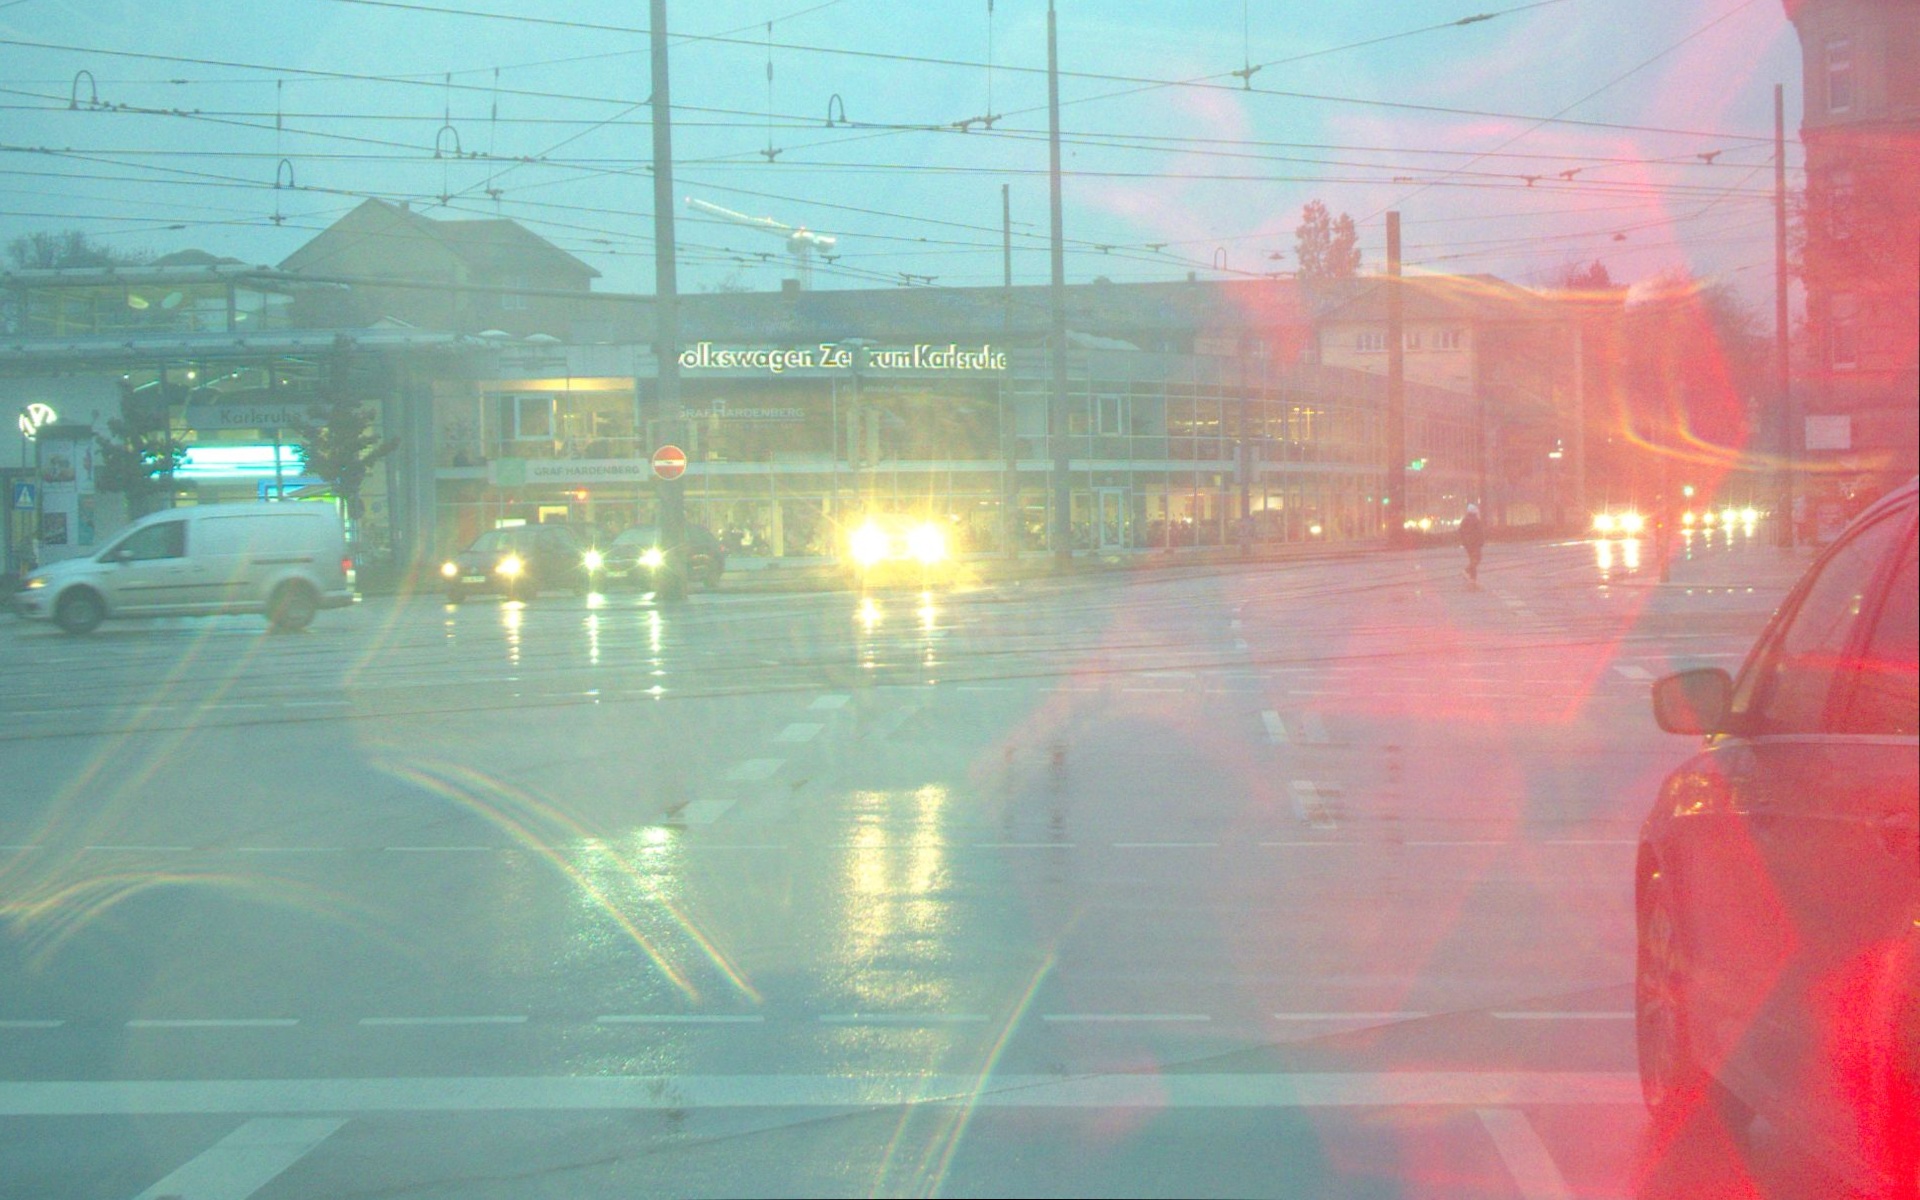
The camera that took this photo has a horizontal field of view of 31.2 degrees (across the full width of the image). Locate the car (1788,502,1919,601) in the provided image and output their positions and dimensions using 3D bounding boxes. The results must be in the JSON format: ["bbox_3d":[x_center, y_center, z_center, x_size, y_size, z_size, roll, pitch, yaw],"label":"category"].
[{"bbox_3d":[16.968,-0.870,59.610,4.798,1.651,1.740,-1,1,2],"label":"car"}]

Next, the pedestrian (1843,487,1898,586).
[{"bbox_3d":[18.722,-1.308,70.704,0.728,2.007,0.789,-1,1,-29],"label":"pedestrian"}]

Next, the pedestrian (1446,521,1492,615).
[{"bbox_3d":[10.100,-0.640,68.236,0.591,1.834,0.619,-2,1,-34],"label":"pedestrian"}]

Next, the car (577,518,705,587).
[{"bbox_3d":[-6.915,-1.048,74.838,1.813,1.441,3.999,-1,1,9],"label":"car"}]

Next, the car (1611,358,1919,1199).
[{"bbox_3d":[2.550,0.455,6.906,1.778,1.794,4.424,0,2,2],"label":"car"}]

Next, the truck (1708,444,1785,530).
[{"bbox_3d":[25.521,-3.643,111.385,1.995,2.682,5.111,-1,1,17],"label":"truck"}]

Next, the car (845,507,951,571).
[{"bbox_3d":[-1.450,-1.461,81.840,1.813,1.441,3.999,-1,1,9],"label":"car"}]

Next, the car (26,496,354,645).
[{"bbox_3d":[-11.130,-0.448,49.678,4.402,2.007,1.912,-2,1,-19],"label":"car"}]

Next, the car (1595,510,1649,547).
[{"bbox_3d":[29.288,-3.180,152.029,1.864,1.596,3.783,-1,1,18],"label":"car"}]

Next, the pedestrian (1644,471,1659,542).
[{"bbox_3d":[19.774,-2.680,98.346,0.344,2.007,0.418,-1,1,16],"label":"pedestrian"}]

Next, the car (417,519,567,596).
[{"bbox_3d":[-9.243,-0.865,68.185,1.813,1.441,3.999,-1,1,9],"label":"car"}]
